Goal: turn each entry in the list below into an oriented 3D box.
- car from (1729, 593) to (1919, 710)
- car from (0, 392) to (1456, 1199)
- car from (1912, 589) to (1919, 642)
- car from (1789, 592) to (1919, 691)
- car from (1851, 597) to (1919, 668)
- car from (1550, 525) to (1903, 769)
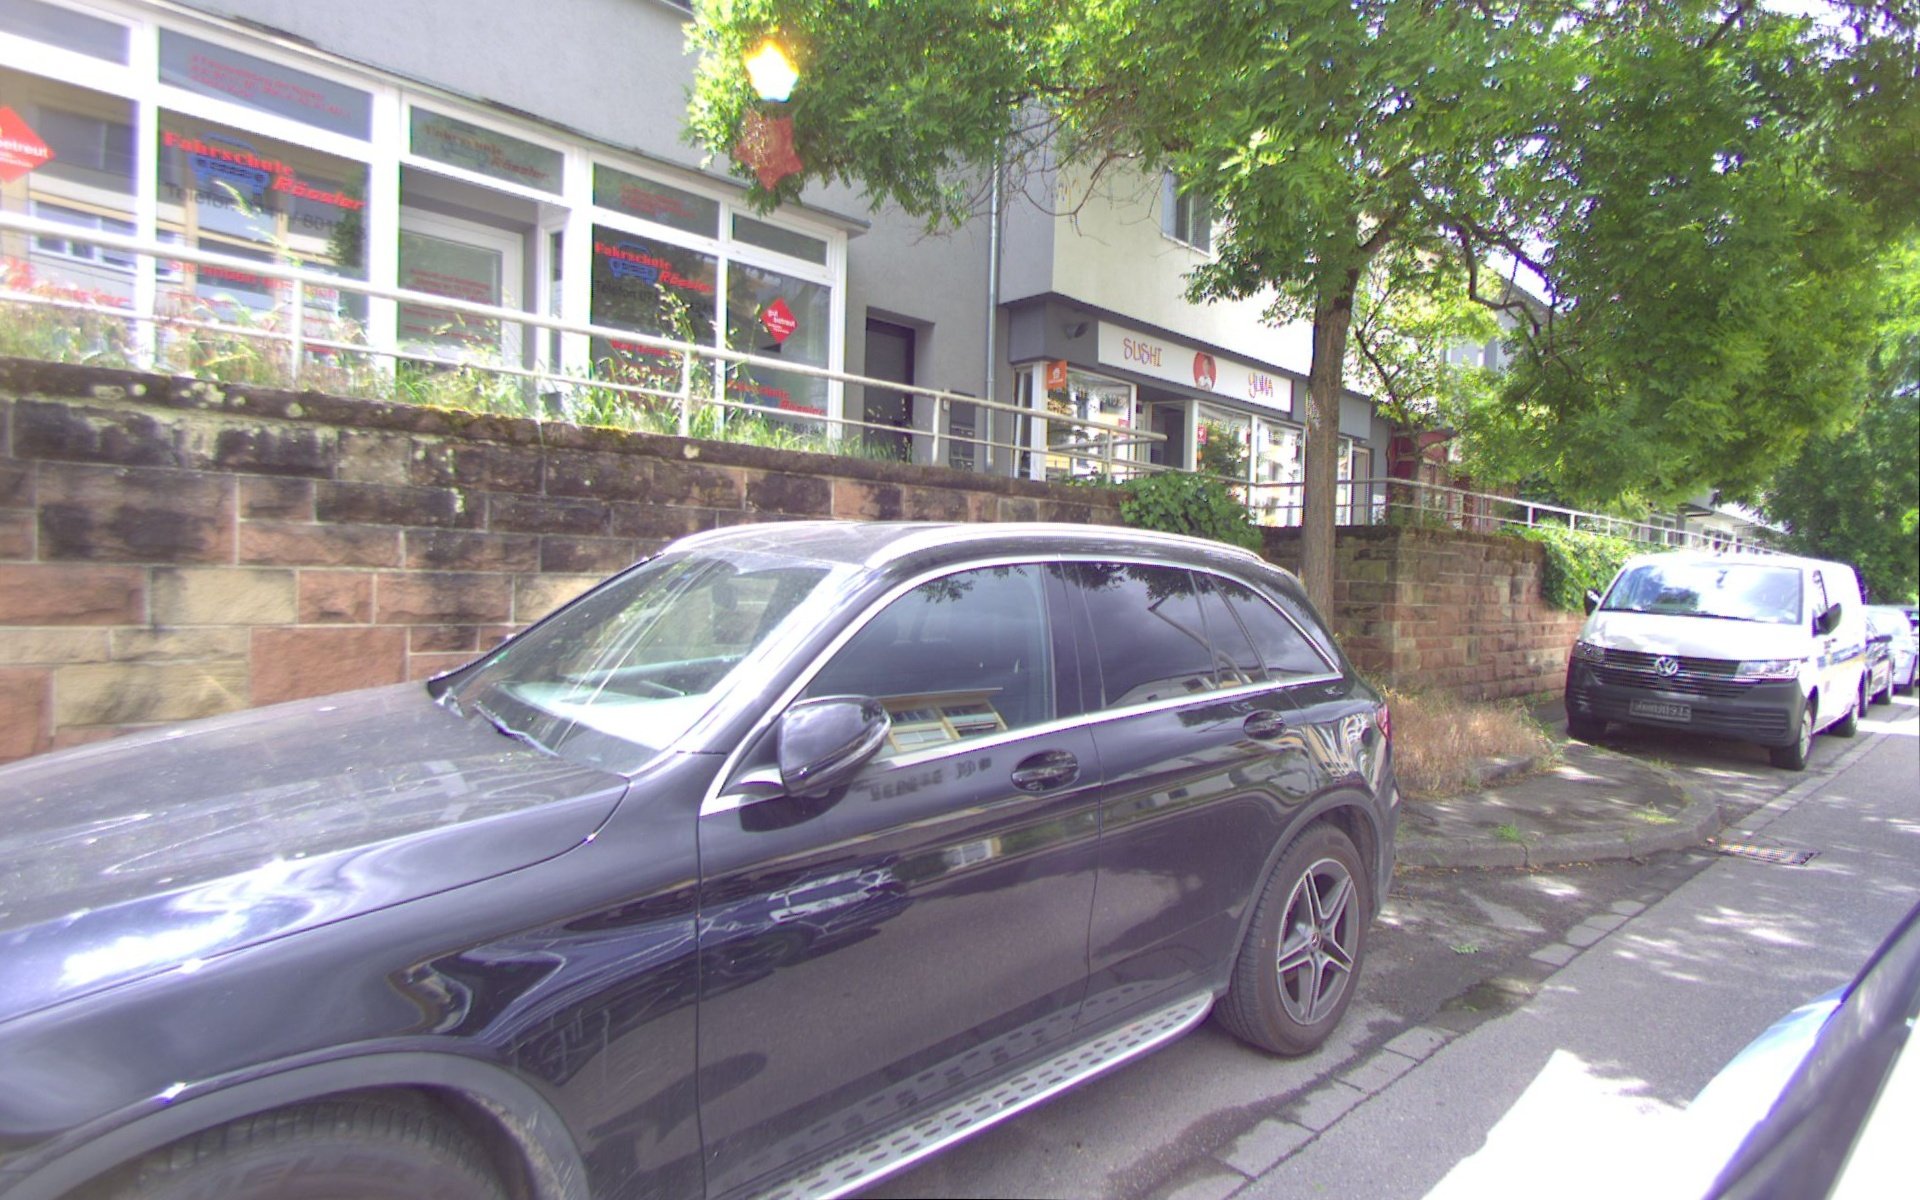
[{"bbox_3d":[12.541,0.650,14.602,3.669,1.446,1.577,0,1,-41],"label":"car"},{"bbox_3d":[-0.452,0.526,2.907,4.371,1.637,1.793,0,4,-42],"label":"car"},{"bbox_3d":[32.286,0.523,32.799,4.078,1.674,1.816,0,2,-44],"label":"car"},{"bbox_3d":[16.171,0.649,17.895,4.076,1.445,1.783,0,4,-44],"label":"car"},{"bbox_3d":[21.303,0.678,22.443,4.075,1.446,1.783,0,2,-41],"label":"car"},{"bbox_3d":[8.215,0.357,10.651,4.925,1.994,1.977,0,1,-41],"label":"car"}]
